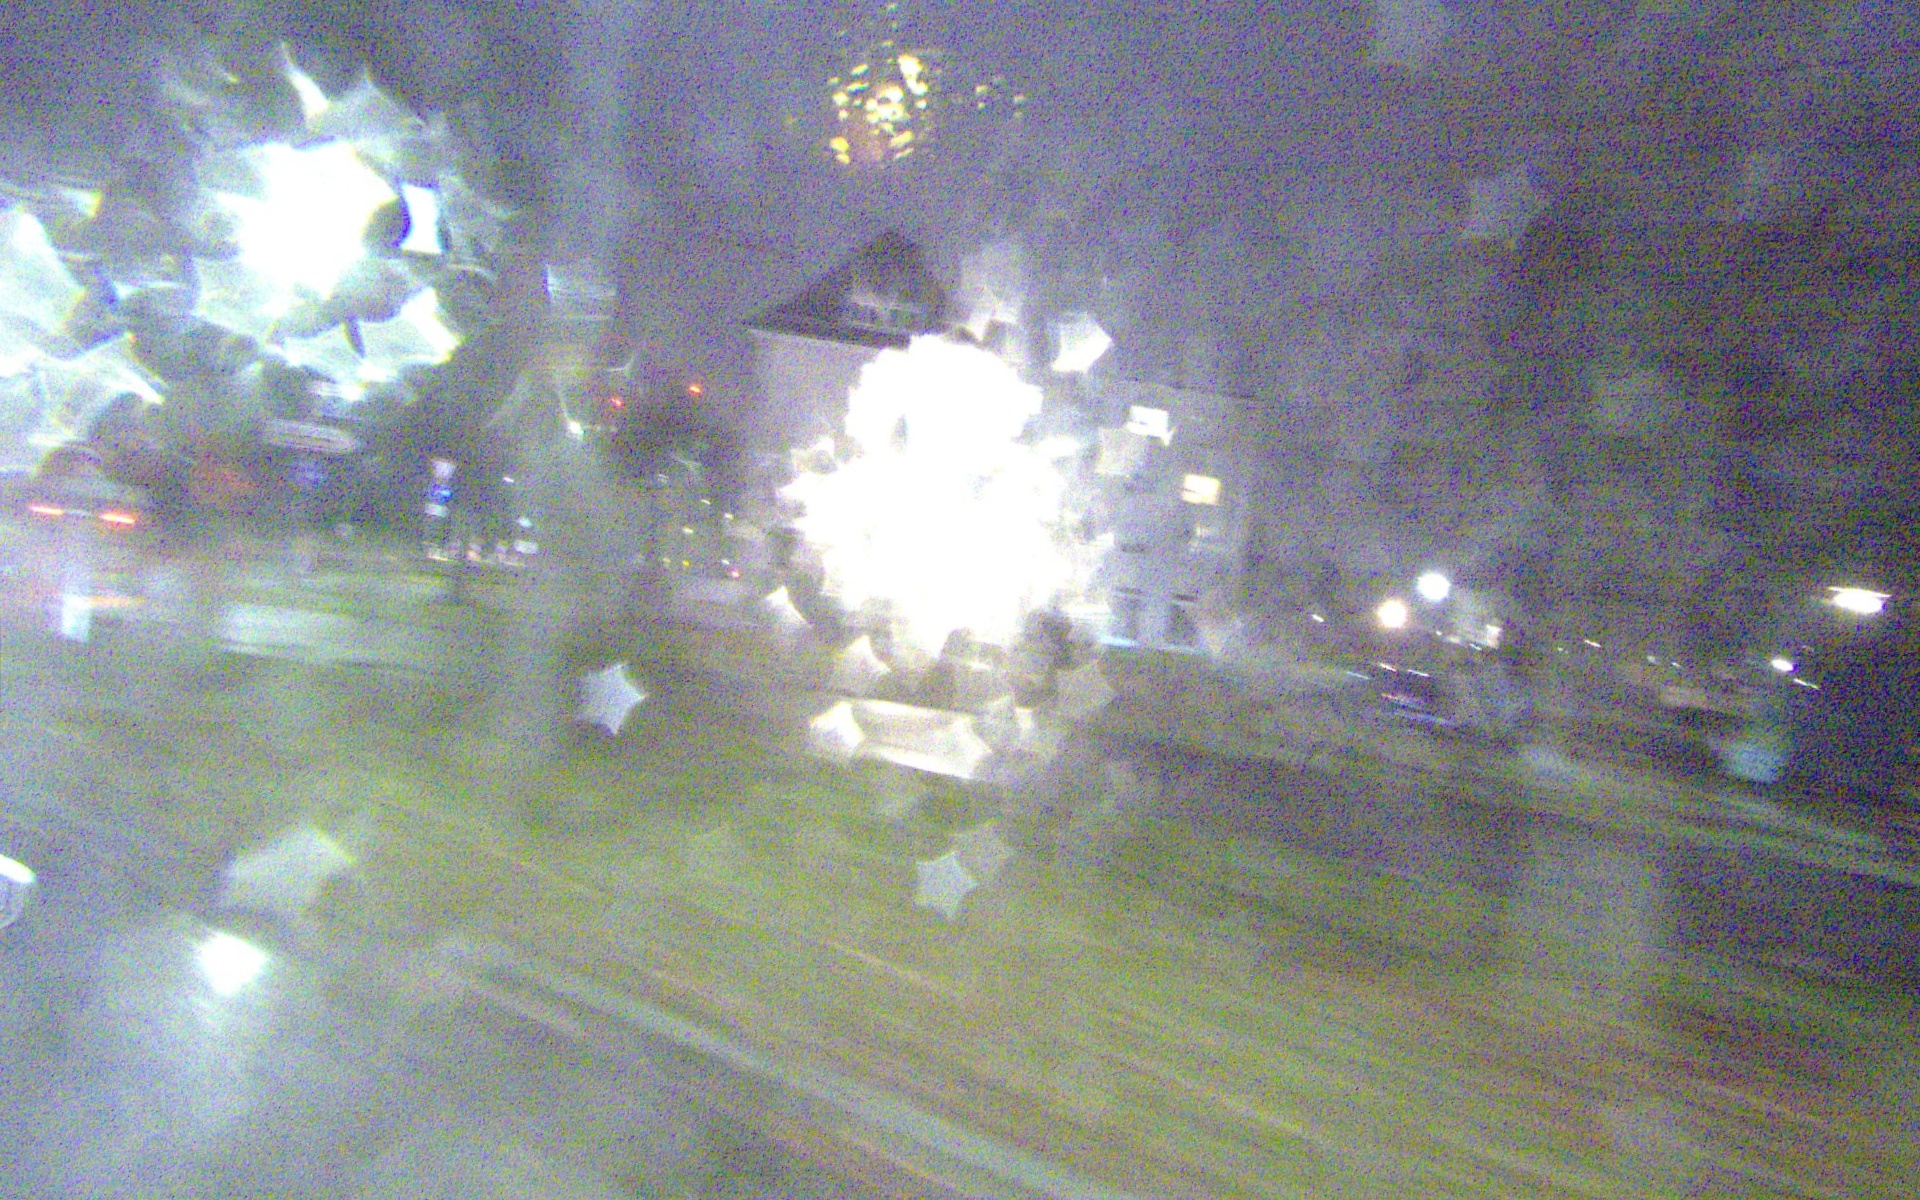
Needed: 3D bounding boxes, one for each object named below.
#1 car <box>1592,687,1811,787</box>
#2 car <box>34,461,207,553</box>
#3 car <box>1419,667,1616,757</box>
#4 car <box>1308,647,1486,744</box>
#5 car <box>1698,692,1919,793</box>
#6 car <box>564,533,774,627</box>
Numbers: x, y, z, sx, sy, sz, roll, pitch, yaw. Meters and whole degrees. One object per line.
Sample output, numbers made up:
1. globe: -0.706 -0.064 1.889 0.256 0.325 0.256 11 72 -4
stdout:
1. car: 16.949 3.081 23.266 1.692 1.515 3.905 8 0 -7
2. car: -23.032 -2.470 27.842 1.972 2.038 4.537 8 0 -19
3. car: 12.126 2.387 22.197 1.692 1.513 3.911 7 -3 -8
4. car: 9.555 2.039 22.375 1.692 1.515 3.905 8 0 -7
5. car: 19.868 3.261 23.630 1.692 1.555 3.905 8 0 -7
6. car: -6.244 -0.419 21.930 3.924 1.705 1.918 4 0 1
